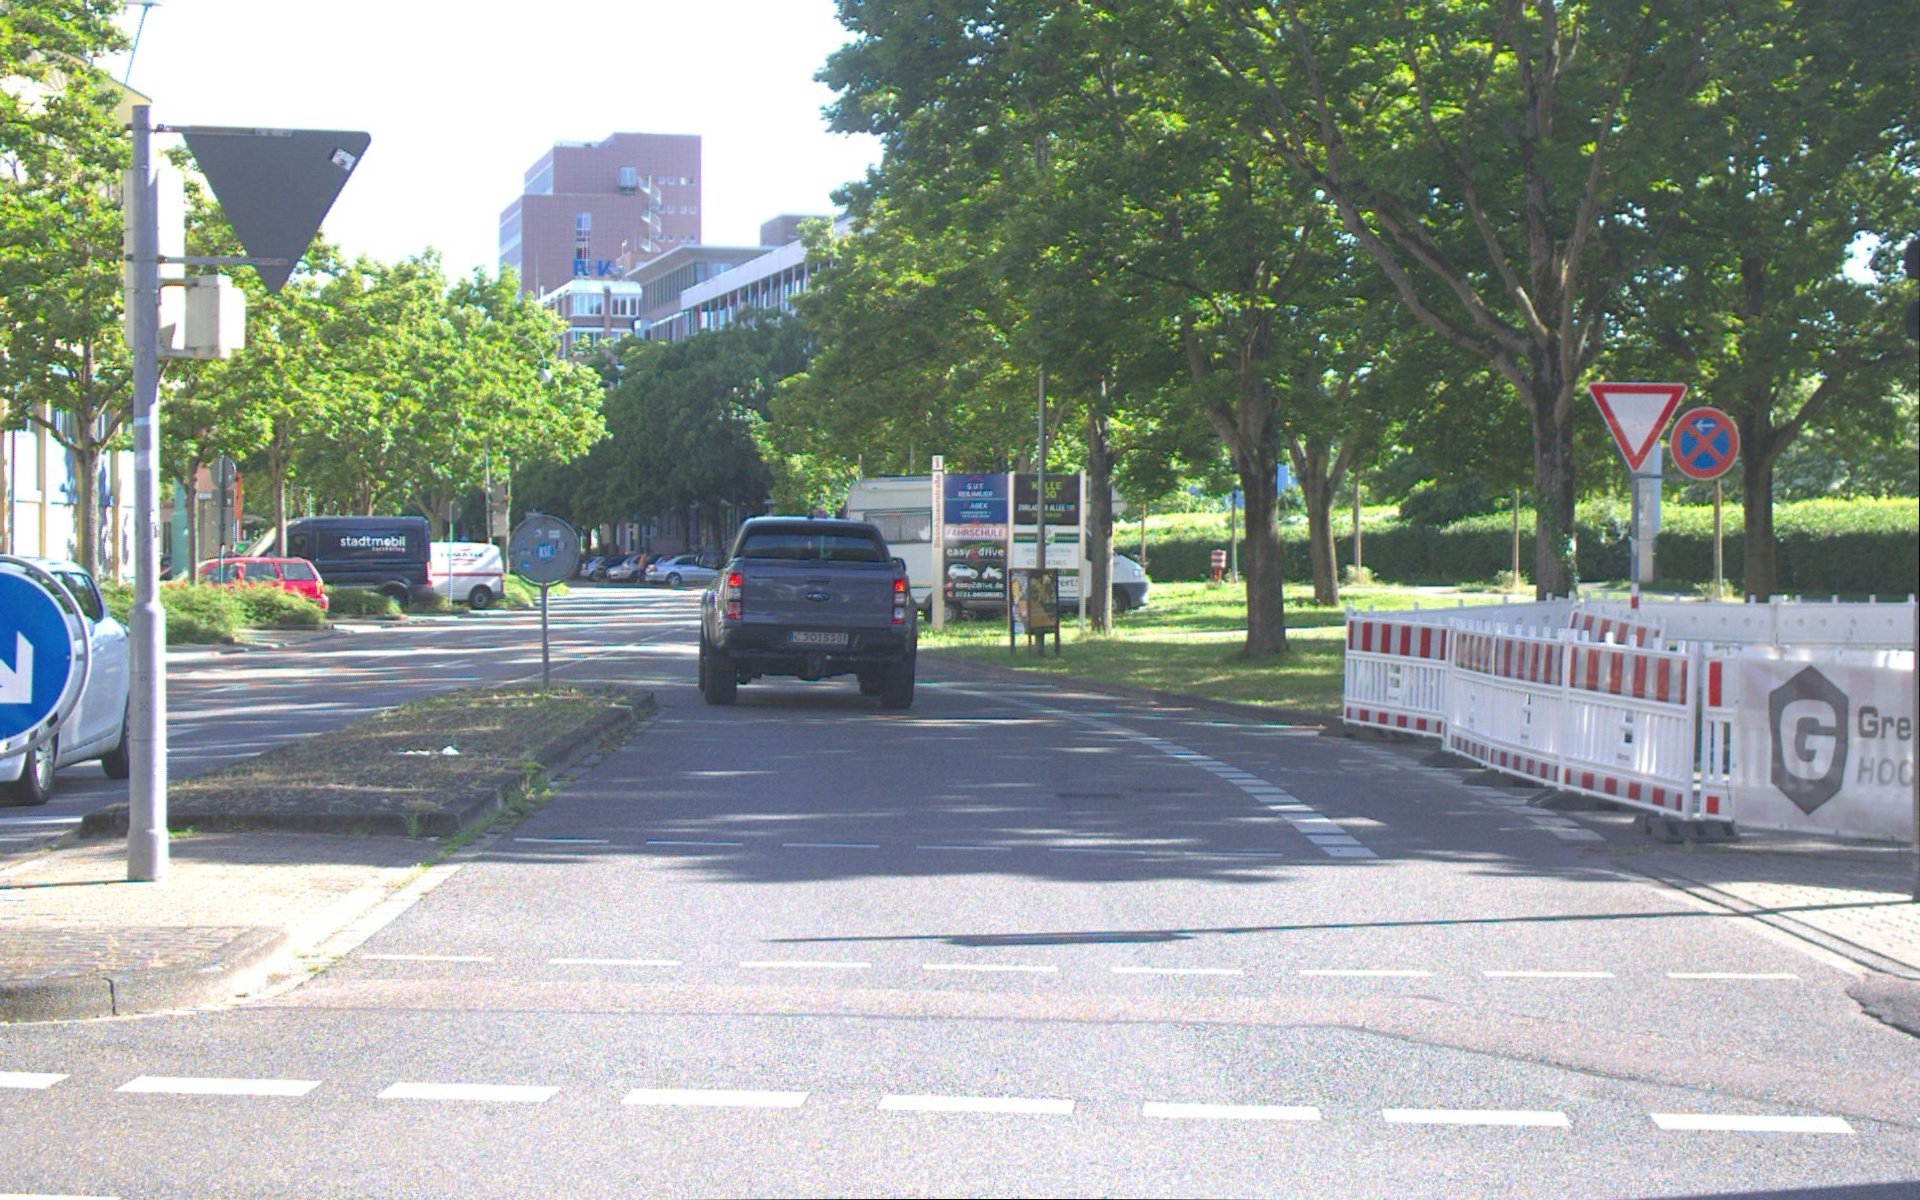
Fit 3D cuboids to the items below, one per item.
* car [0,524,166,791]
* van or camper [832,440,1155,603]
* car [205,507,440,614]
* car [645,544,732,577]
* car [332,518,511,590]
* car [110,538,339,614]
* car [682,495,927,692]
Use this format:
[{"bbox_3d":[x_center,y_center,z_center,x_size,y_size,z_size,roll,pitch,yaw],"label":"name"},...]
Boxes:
[{"bbox_3d":[-6.257,0.304,21.479,1.705,1.507,3.863,-1,1,-1],"label":"car"},{"bbox_3d":[0.597,-1.533,67.296,6.078,2.918,2.576,-2,1,-3],"label":"van or camper"},{"bbox_3d":[-15.514,-0.978,83.730,5.260,2.537,1.986,-1,1,-27],"label":"car"},{"bbox_3d":[-12.978,-1.896,164.218,3.946,1.392,1.517,-2,1,-11],"label":"car"},{"bbox_3d":[-15.970,-1.377,102.011,4.885,2.076,1.985,-1,1,-37],"label":"car"},{"bbox_3d":[-15.626,-0.525,73.065,4.406,1.547,1.922,-1,1,-26],"label":"car"},{"bbox_3d":[-1.643,-0.122,34.471,2.132,1.829,4.942,0,1,-6],"label":"car"}]
